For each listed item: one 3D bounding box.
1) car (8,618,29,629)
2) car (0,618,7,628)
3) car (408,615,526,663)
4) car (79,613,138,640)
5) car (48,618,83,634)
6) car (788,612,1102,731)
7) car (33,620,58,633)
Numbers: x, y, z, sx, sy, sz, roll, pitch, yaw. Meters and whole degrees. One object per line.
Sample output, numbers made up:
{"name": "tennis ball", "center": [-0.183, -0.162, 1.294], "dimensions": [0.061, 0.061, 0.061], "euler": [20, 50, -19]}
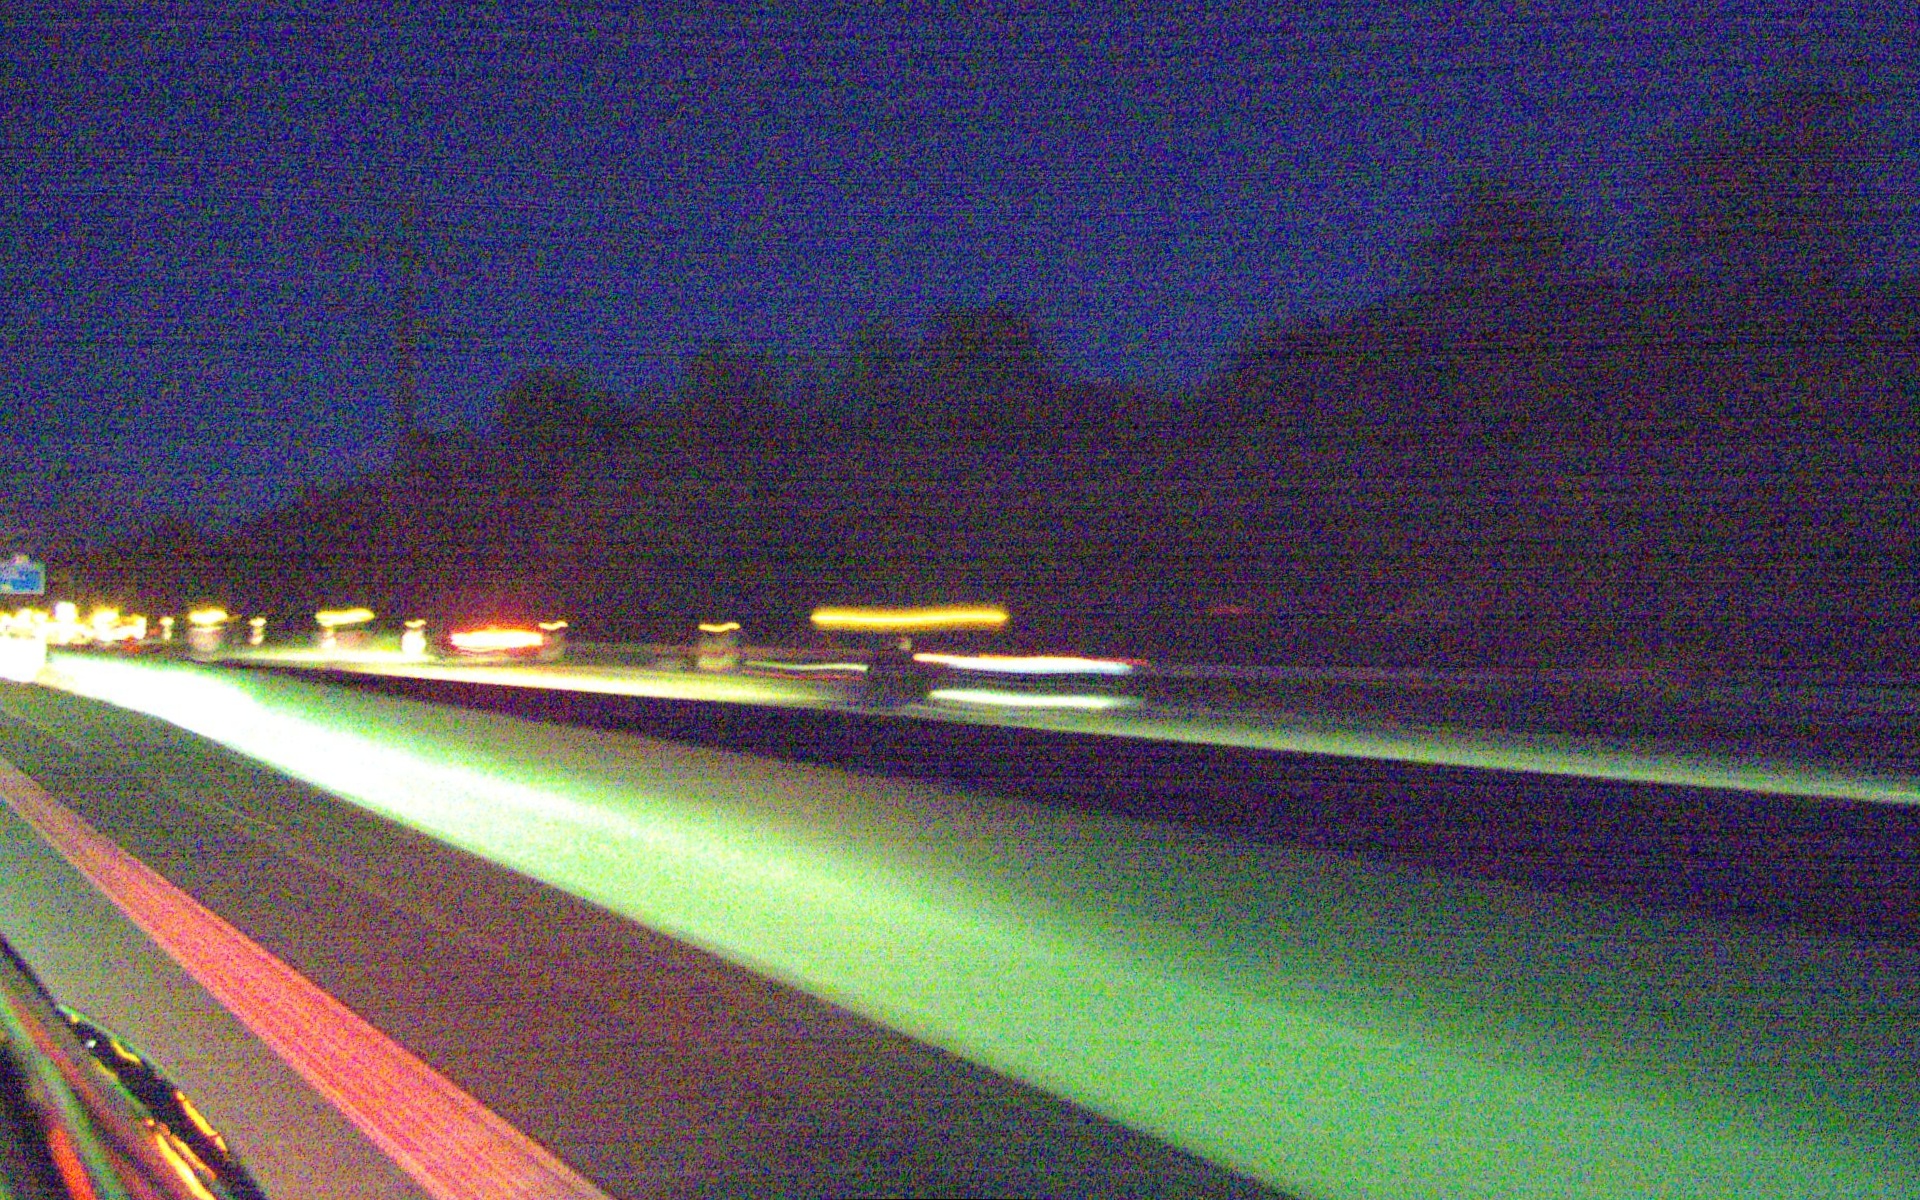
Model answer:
{"name": "car", "center": [-127.933, 3.210, 137.498], "dimensions": [4.727, 1.490, 1.730], "euler": [-1, -3, 44]}
{"name": "car", "center": [-152.104, 3.668, 160.003], "dimensions": [4.481, 1.490, 1.731], "euler": [-1, -3, 43]}
{"name": "car", "center": [-16.302, 1.265, 33.367], "dimensions": [4.578, 1.490, 1.732], "euler": [-1, -3, 40]}
{"name": "car", "center": [-48.150, 1.512, 57.202], "dimensions": [4.578, 1.490, 1.732], "euler": [-1, -3, 40]}
{"name": "car", "center": [-80.026, 2.313, 90.551], "dimensions": [4.874, 1.405, 1.615], "euler": [-1, -3, 40]}
{"name": "car", "center": [-0.338, 0.960, 14.820], "dimensions": [4.578, 1.490, 1.732], "euler": [-1, -3, 40]}
{"name": "car", "center": [-100.215, 2.922, 110.879], "dimensions": [4.809, 1.344, 1.644], "euler": [-1, -3, 43]}
